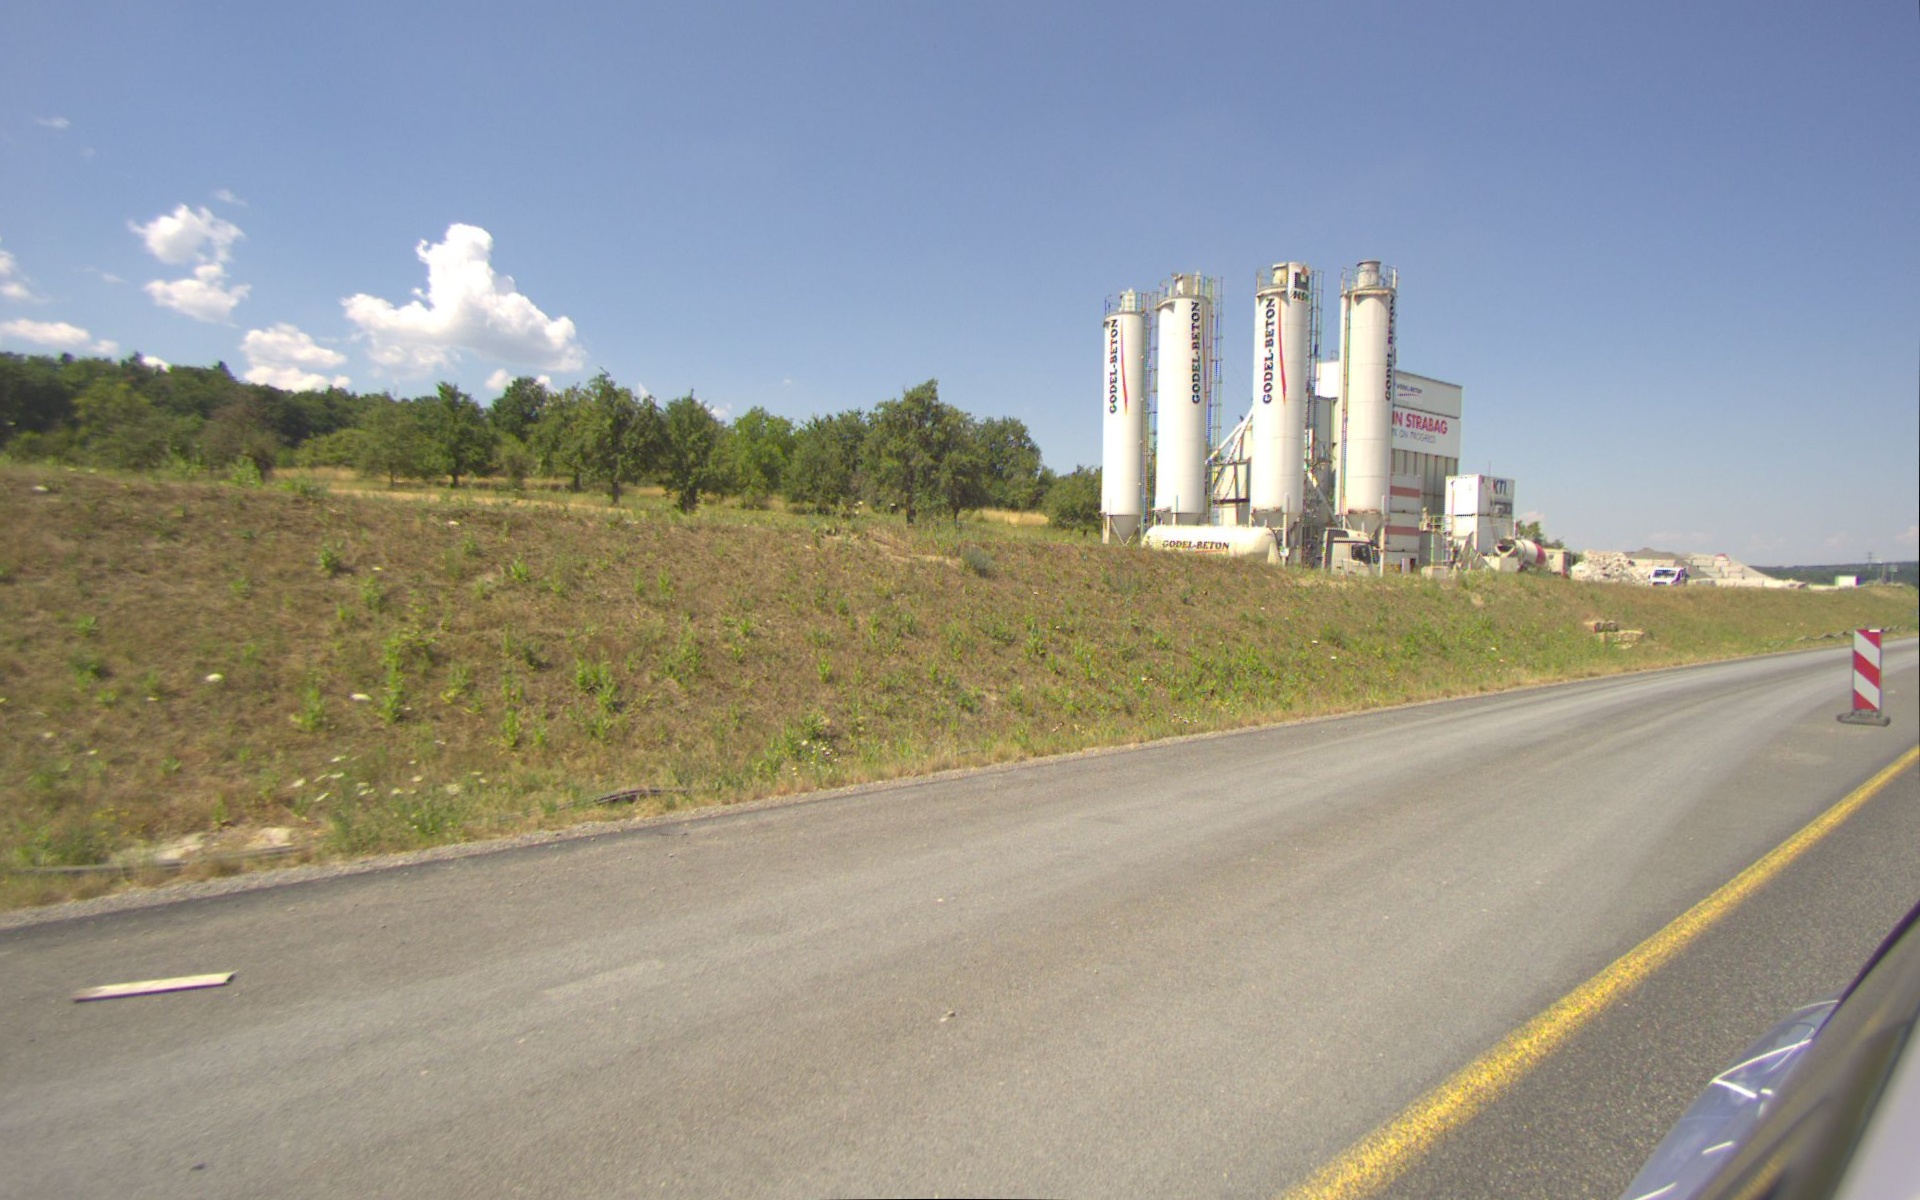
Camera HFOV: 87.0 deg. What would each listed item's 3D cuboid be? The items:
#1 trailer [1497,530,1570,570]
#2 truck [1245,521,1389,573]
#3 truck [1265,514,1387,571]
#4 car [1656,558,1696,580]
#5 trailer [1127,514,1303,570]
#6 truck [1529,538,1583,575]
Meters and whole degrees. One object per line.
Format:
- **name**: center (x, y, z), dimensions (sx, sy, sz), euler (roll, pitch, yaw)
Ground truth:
- **trailer**: center (40.767, -3.498, 71.897), dimensions (6.808, 2.677, 1.999), euler (0, 0, -37)
- **truck**: center (22.693, -3.283, 64.970), dimensions (2.412, 2.904, 9.104), euler (0, 0, -34)
- **truck**: center (17.603, -2.712, 49.006), dimensions (5.228, 2.576, 2.893), euler (0, 0, 14)
- **car**: center (60.630, -2.617, 85.653), dimensions (3.539, 1.785, 1.989), euler (0, 0, -41)
- **trailer**: center (12.928, -2.869, 52.082), dimensions (2.423, 2.639, 8.904), euler (0, 1, -43)
- **truck**: center (43.657, -3.161, 74.105), dimensions (3.966, 2.577, 2.022), euler (0, 0, -37)
